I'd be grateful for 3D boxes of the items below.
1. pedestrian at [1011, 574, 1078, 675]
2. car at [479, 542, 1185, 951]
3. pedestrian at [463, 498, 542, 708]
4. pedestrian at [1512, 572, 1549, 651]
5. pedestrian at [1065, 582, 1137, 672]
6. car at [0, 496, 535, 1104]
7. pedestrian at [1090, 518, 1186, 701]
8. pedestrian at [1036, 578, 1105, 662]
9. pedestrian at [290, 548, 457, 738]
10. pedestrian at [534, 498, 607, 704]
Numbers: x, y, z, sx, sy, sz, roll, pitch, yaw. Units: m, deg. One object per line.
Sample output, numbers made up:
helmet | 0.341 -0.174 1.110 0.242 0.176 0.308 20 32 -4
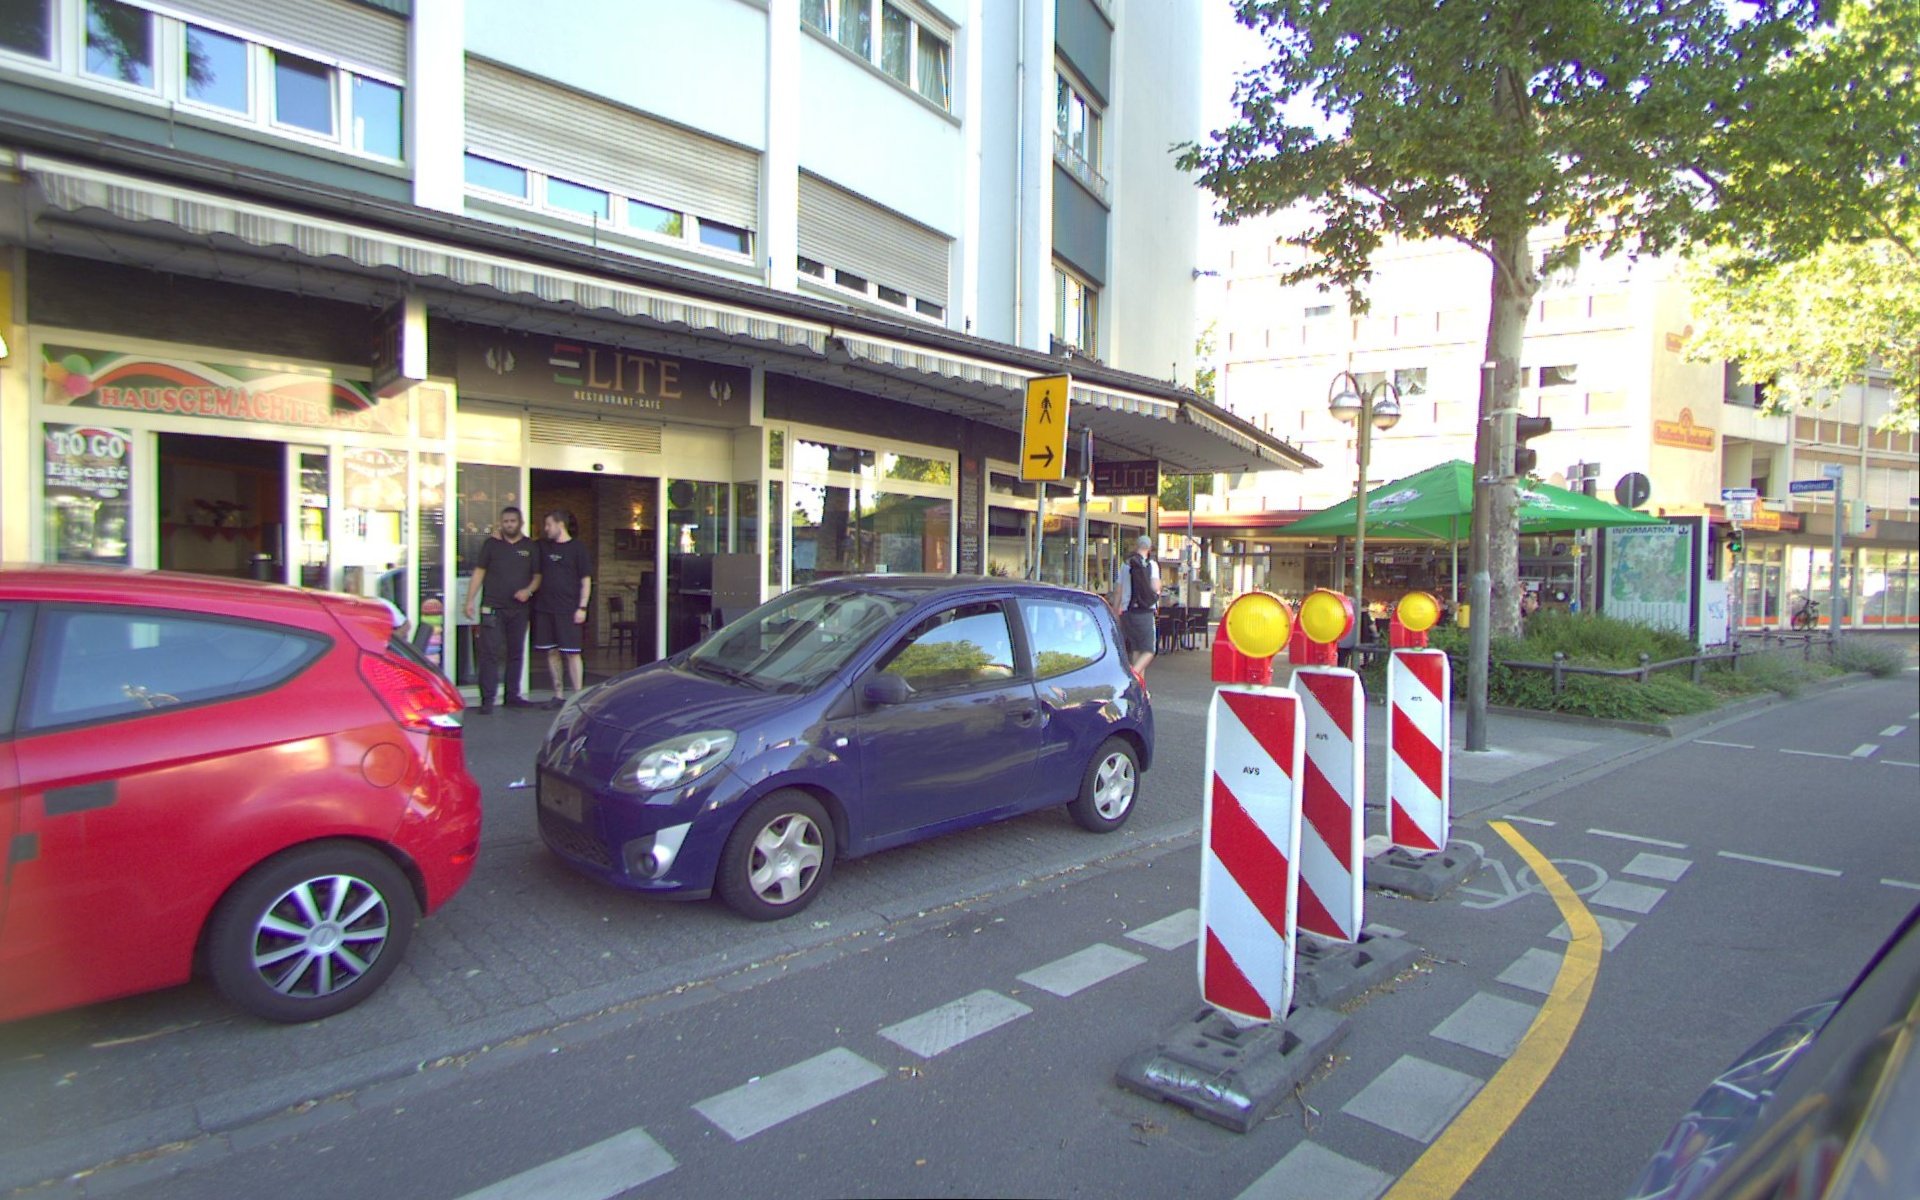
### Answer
pedestrian | 1.136 0.320 13.756 0.685 1.323 0.793 1 1 -13
car | -0.532 0.509 5.692 3.551 1.485 1.769 -1 5 -44
pedestrian | -4.060 0.013 8.981 0.547 1.800 0.395 -1 4 -43
pedestrian | 12.284 0.235 21.790 0.624 1.657 0.525 2 1 34
pedestrian | 1.976 0.363 14.259 0.685 1.207 0.881 0 1 -18
car | -3.507 0.482 2.980 3.761 1.614 1.784 -1 5 -45
pedestrian | 2.028 0.092 11.537 0.874 1.983 0.648 0 1 -41
pedestrian | 1.639 0.285 15.096 0.776 1.207 0.648 0 1 -34
pedestrian | -4.594 0.288 7.916 0.937 1.352 1.069 0 2 -42
pedestrian | -3.492 0.007 9.092 0.545 1.803 0.397 1 3 -11
